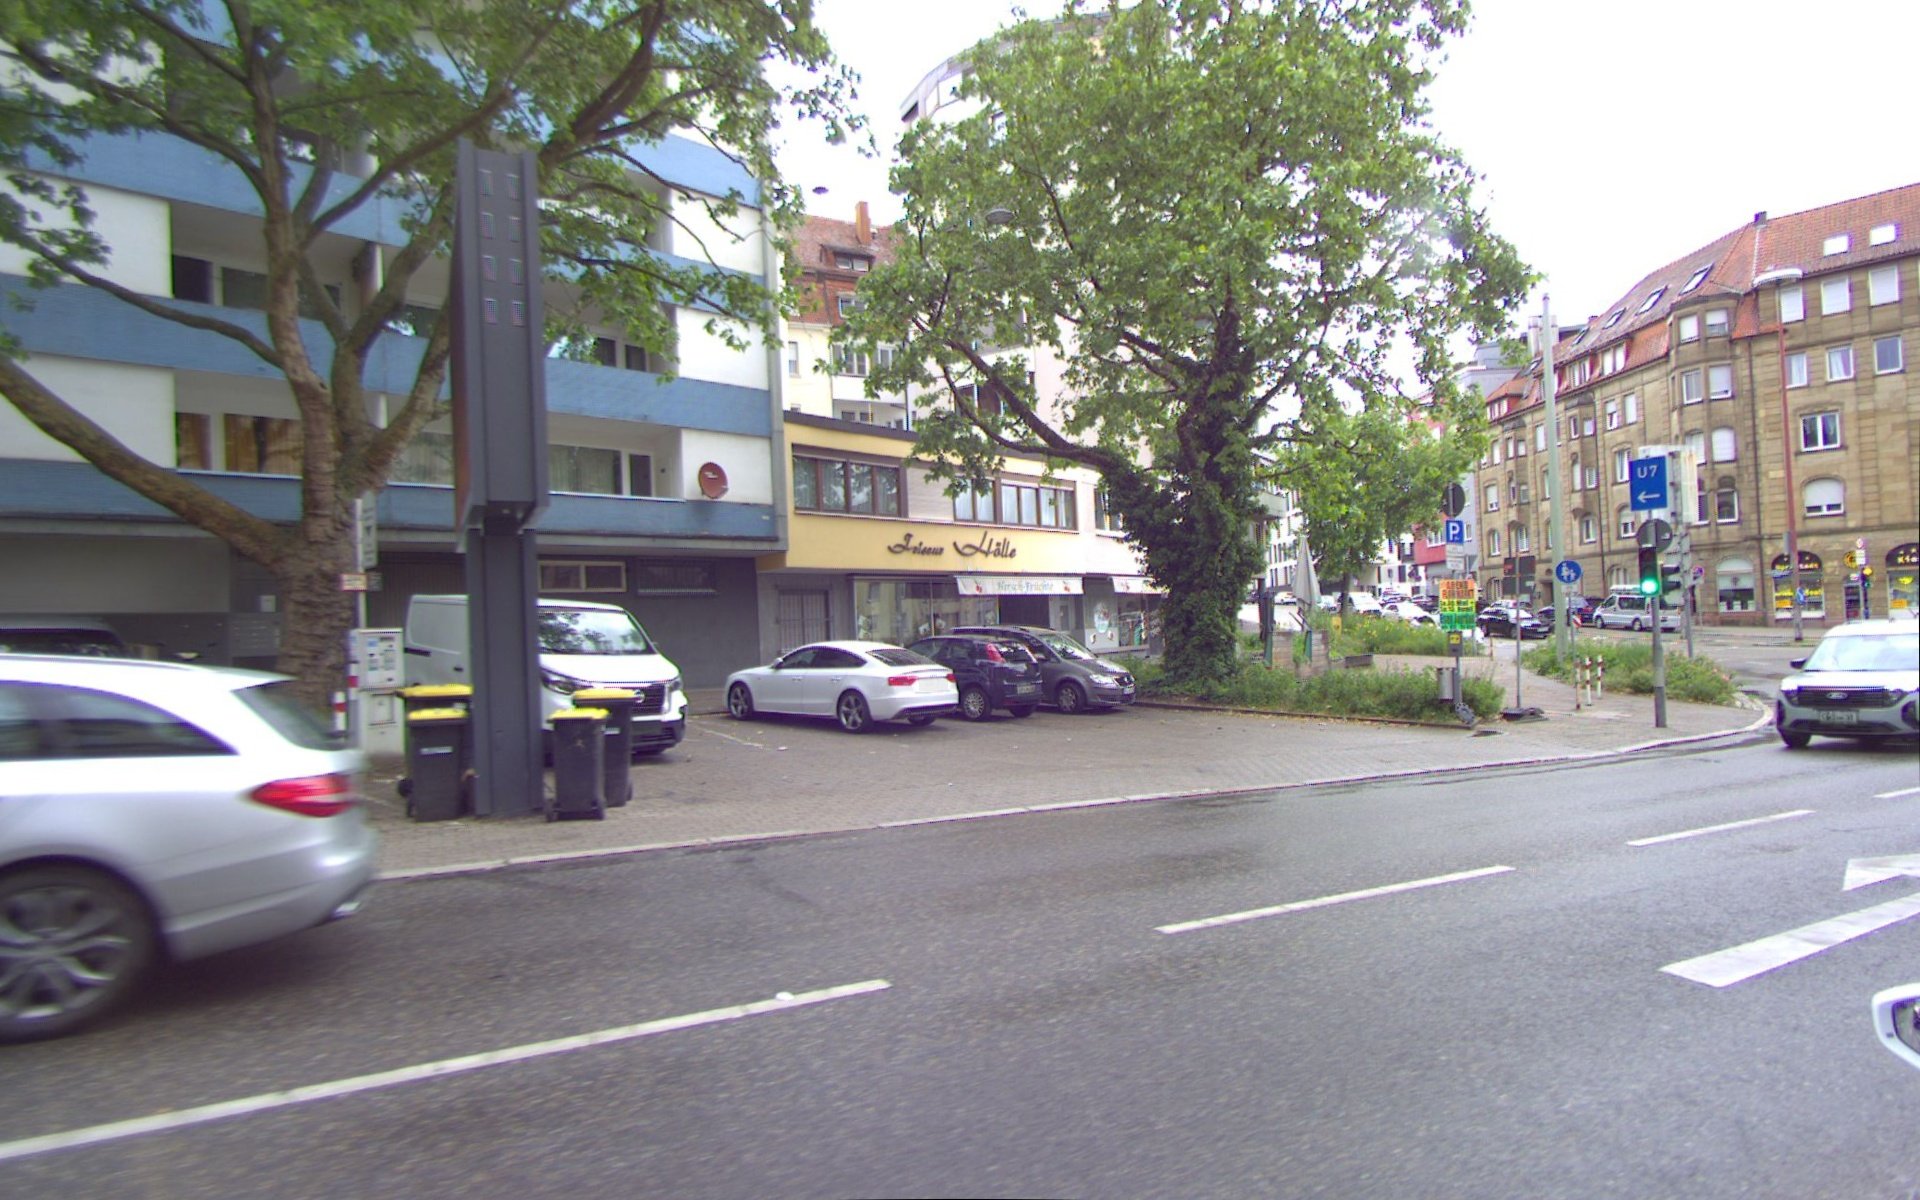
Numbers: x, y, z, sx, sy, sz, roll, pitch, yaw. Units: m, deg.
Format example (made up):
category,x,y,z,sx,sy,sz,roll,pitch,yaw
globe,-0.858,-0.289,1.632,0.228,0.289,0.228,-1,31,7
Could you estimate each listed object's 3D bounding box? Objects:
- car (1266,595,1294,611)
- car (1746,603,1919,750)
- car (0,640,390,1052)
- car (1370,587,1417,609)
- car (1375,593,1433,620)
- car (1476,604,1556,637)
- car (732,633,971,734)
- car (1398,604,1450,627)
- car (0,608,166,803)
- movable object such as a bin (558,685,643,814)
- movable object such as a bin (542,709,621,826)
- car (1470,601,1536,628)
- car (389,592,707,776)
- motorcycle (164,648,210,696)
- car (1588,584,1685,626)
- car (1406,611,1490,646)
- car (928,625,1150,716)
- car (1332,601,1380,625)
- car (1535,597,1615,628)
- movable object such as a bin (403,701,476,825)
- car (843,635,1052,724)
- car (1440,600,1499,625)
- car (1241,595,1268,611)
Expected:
category,x,y,z,sx,sy,sz,roll,pitch,yaw
car,36.050,0.331,113.365,1.665,1.727,4.214,0,0,-2
car,13.773,1.113,14.903,4.192,1.905,1.806,1,-6,-30
car,-4.705,0.943,3.914,4.273,1.466,1.719,1,-5,-29
car,35.981,-0.157,83.546,1.961,1.727,4.214,0,0,-2
car,27.539,0.397,62.495,1.704,1.558,4.303,-2,0,1
car,27.271,0.968,49.415,1.731,1.511,4.024,-2,0,1
car,-1.825,1.289,16.575,3.644,1.434,1.806,0,-1,35
car,36.085,1.185,78.244,1.961,1.727,4.214,0,0,-2
car,-9.706,0.980,10.316,3.781,1.711,1.797,-2,-3,42
movable object such as a bin,-3.355,1.366,9.363,0.621,1.094,0.638,1,-2,-33
movable object such as a bin,-3.270,1.427,8.676,0.540,0.913,0.481,1,-2,-33
car,36.103,0.942,66.902,1.961,1.727,4.214,0,0,-2
car,-5.588,0.951,13.293,4.903,2.003,1.871,0,-1,41
motorcycle,-12.795,1.172,16.650,0.419,0.696,1.661,1,-1,-32
car,36.591,0.290,54.507,1.961,2.197,4.803,0,0,-2
car,22.811,1.311,47.148,1.876,1.511,4.394,0,0,1
car,1.597,1.365,20.621,4.142,1.664,1.937,0,-1,31
car,27.365,0.921,69.530,1.704,1.558,4.155,1,-1,1
car,36.365,0.739,59.519,1.961,1.727,4.380,0,0,-2
movable object such as a bin,-4.489,1.383,8.664,0.506,0.977,0.481,1,-2,-33
car,-0.257,1.405,18.612,3.558,1.434,1.627,0,-1,31
car,36.285,0.914,71.654,1.961,1.727,4.214,0,0,-2
car,33.370,0.341,113.928,1.665,1.727,4.214,0,0,-2
